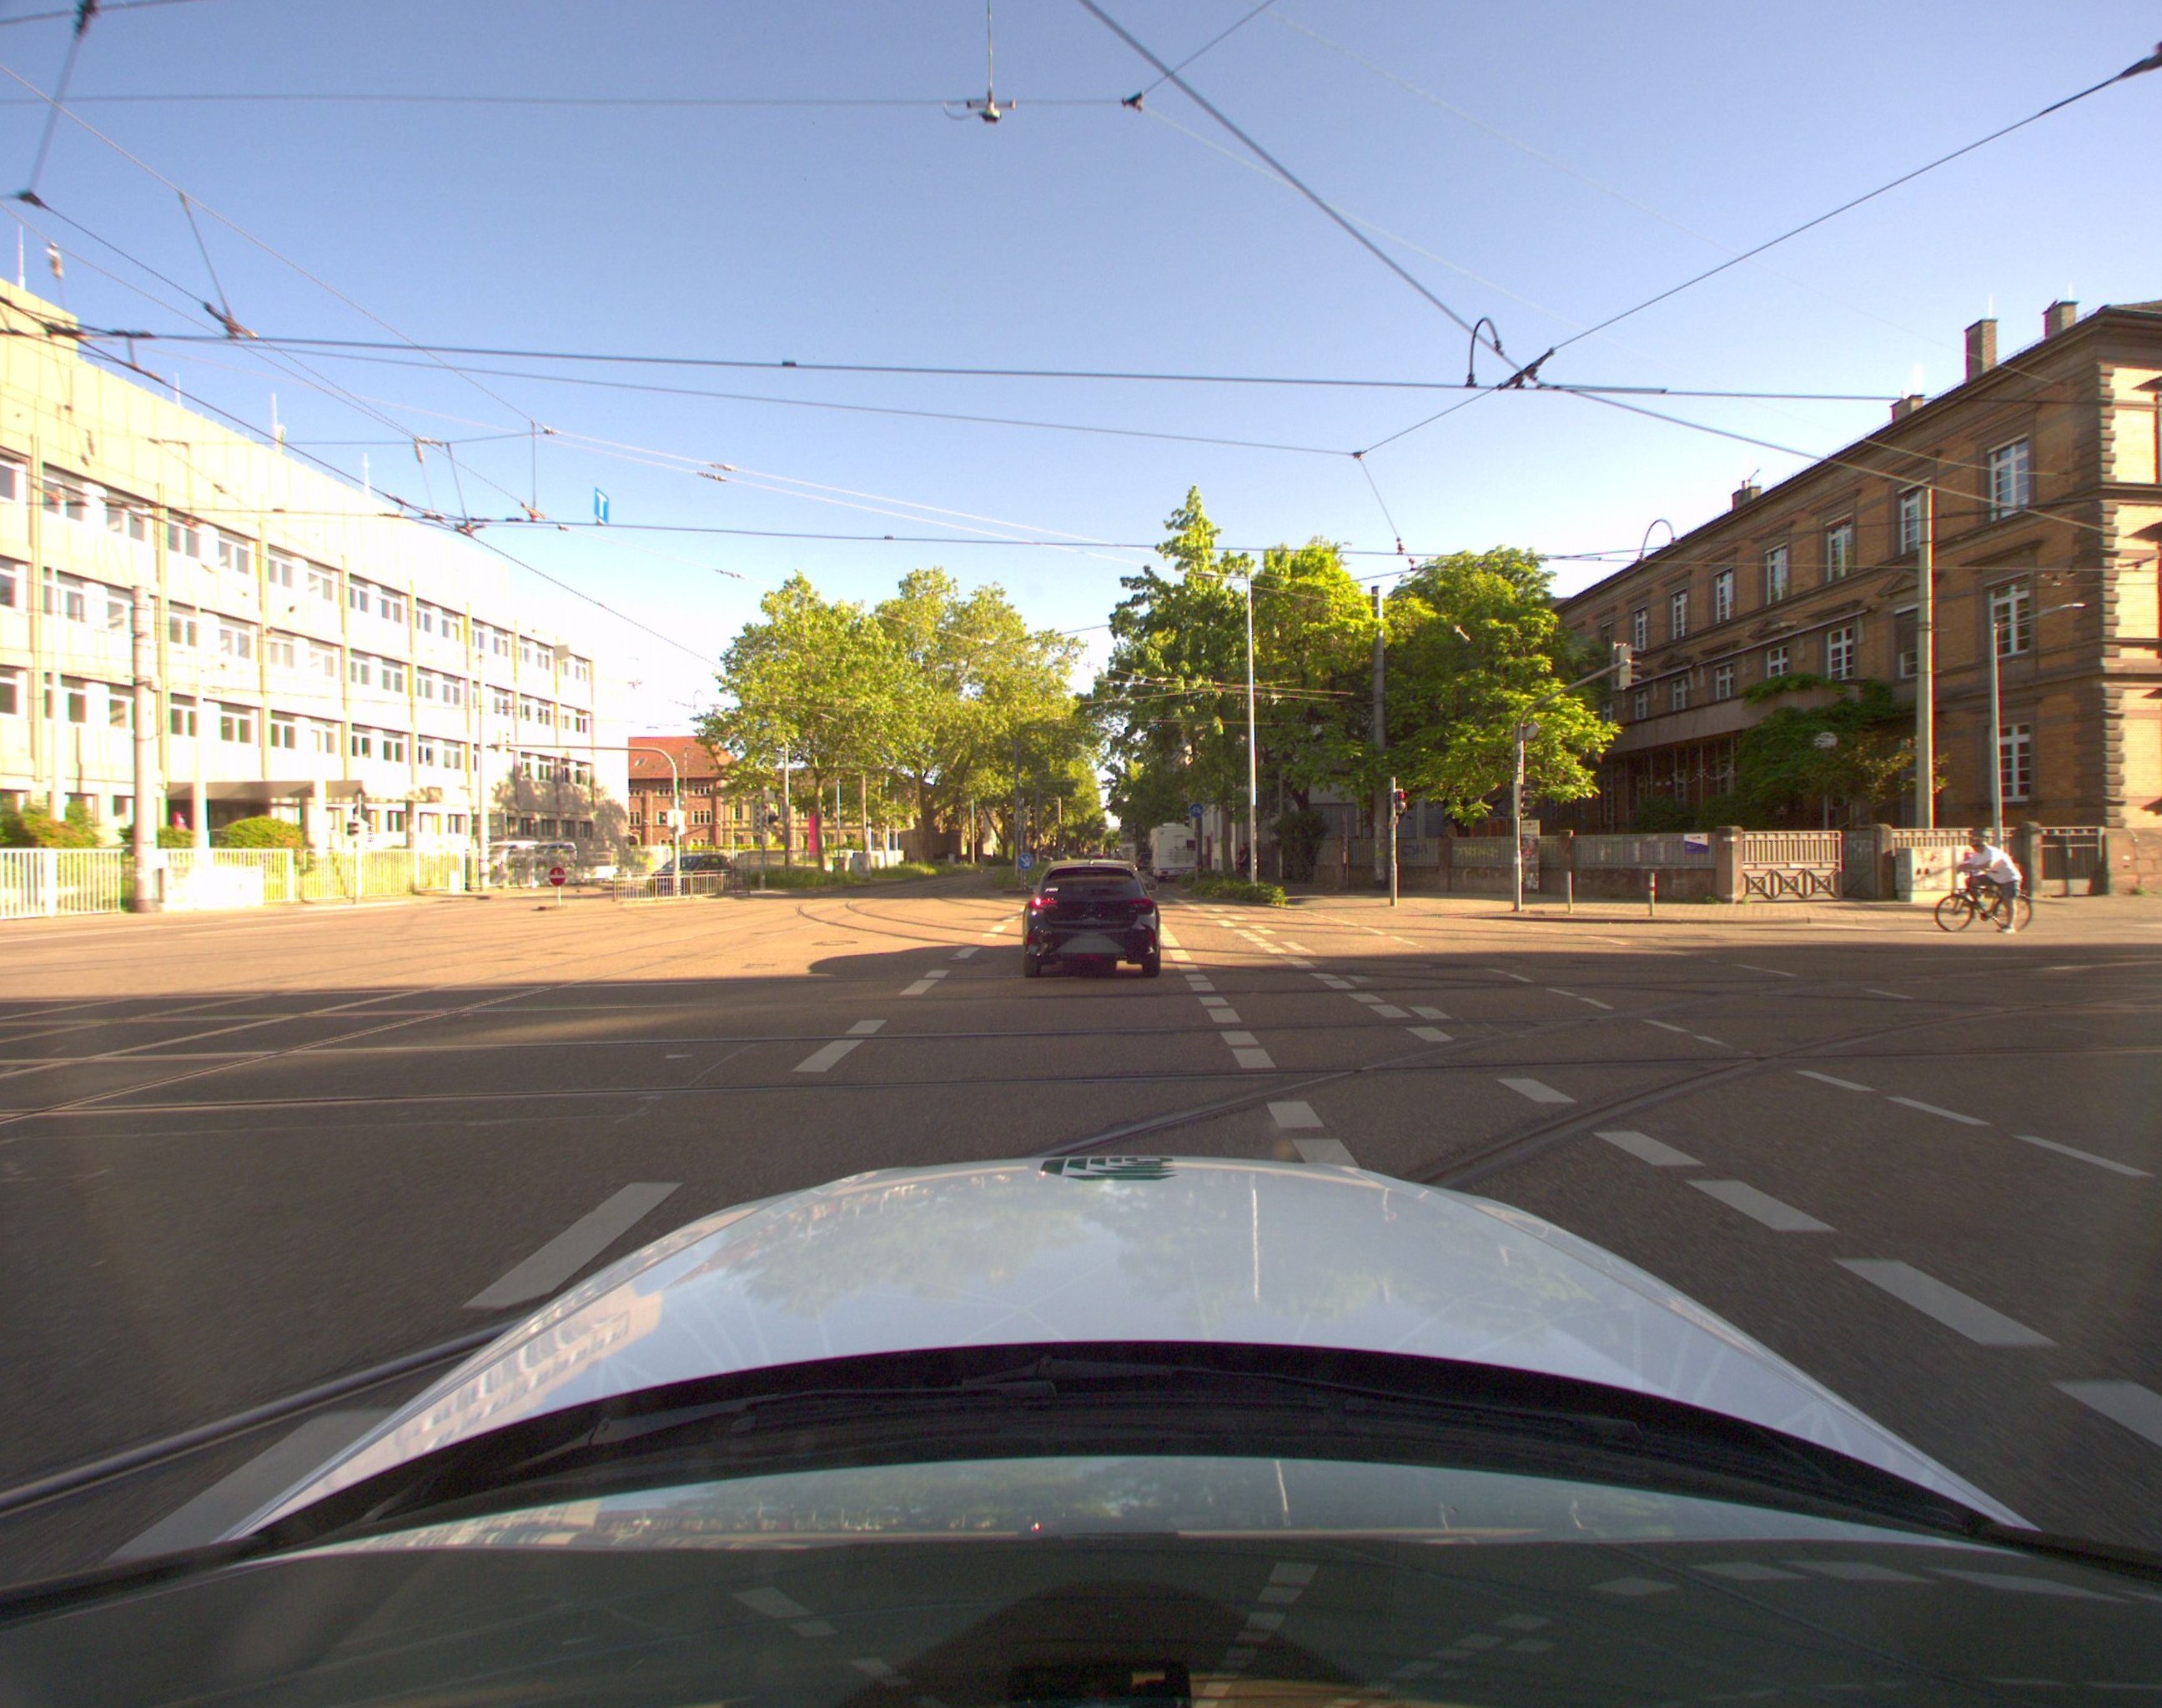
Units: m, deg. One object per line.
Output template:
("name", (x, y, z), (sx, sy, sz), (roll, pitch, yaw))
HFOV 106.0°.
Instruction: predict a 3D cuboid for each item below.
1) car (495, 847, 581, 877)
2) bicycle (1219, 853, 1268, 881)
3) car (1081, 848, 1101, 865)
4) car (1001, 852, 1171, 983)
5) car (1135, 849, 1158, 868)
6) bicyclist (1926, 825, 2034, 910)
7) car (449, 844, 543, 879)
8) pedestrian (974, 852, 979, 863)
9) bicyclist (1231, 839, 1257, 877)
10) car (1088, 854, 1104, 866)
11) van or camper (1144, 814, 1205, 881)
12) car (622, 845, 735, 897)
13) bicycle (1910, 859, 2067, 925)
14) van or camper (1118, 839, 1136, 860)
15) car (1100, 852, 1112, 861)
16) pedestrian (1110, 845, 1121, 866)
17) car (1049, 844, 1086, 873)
("car", (-33.242, 0.444, 50.018), (1.983, 1.703, 4.387), (-2, 0, 7))
("bicycle", (6.610, 0.530, 33.120), (1.953, 1.070, 0.636), (-1, 0, -23))
("car", (0.975, 0.231, 78.983), (1.783, 1.510, 3.876), (-3, 0, 3))
("car", (0.173, 0.716, 11.289), (1.897, 1.425, 4.219), (-1, 0, 3))
("car", (5.684, 0.352, 70.729), (1.783, 1.510, 3.876), (-3, 0, 3))
("bicyclist", (16.727, 0.236, 15.177), (0.925, 1.509, 1.009), (-1, 0, -9))
("car", (-36.075, 0.396, 50.422), (1.983, 2.013, 4.734), (-2, 0, 7))
("pedestrian", (-16.161, 0.577, 125.782), (0.616, 1.733, 0.596), (1, 0, 1))
("bicyclist", (6.634, 0.159, 33.132), (0.702, 1.510, 0.745), (-1, 0, -23))
("car", (1.966, 0.804, 103.956), (1.897, 1.425, 4.219), (-1, 0, 3))
("van or camper", (4.895, -0.352, 43.879), (2.367, 3.125, 7.553), (-4, 0, 1))
("car", (-16.559, 0.646, 33.806), (1.982, 1.947, 4.435), (-1, 1, 9))
("bicycle", (16.887, 0.686, 15.171), (2.323, 1.119, 0.843), (-1, 0, -9))
("van or camper", (6.644, -0.668, 117.210), (2.476, 2.993, 5.439), (1, 0, 3))
("car", (4.476, 0.415, 146.128), (1.897, 1.425, 4.219), (-1, 0, 3))
("pedestrian", (3.375, 0.156, 80.262), (1.032, 2.024, 1.213), (-1, 0, 1))
("car", (-0.736, 0.241, 48.059), (1.986, 1.627, 4.472), (1, 0, 1))
